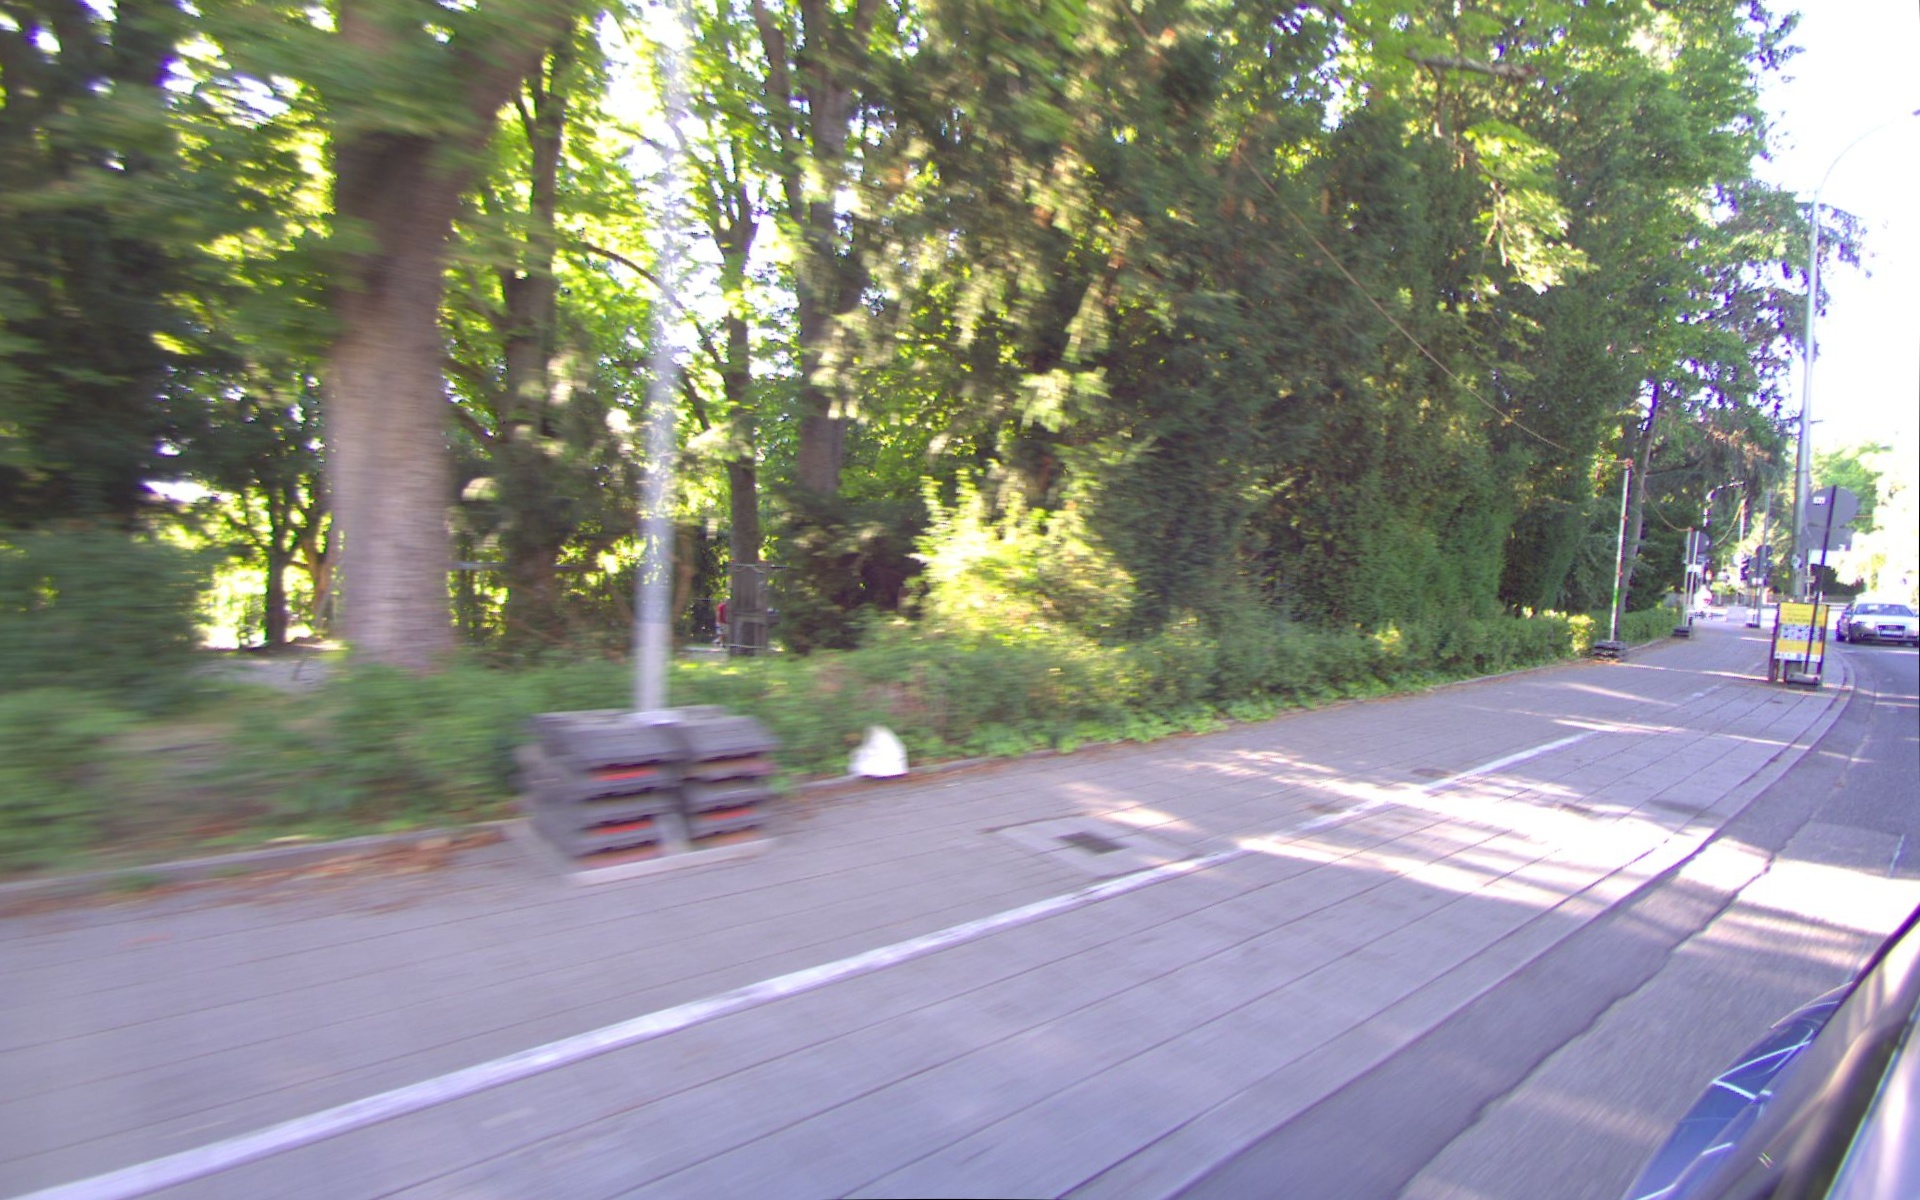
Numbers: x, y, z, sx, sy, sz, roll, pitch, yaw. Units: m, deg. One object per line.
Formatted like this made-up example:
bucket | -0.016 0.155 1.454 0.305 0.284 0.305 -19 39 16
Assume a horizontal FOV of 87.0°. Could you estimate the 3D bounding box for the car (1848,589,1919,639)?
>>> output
car | 30.421 0.416 33.100 1.653 1.494 3.637 2 2 35
